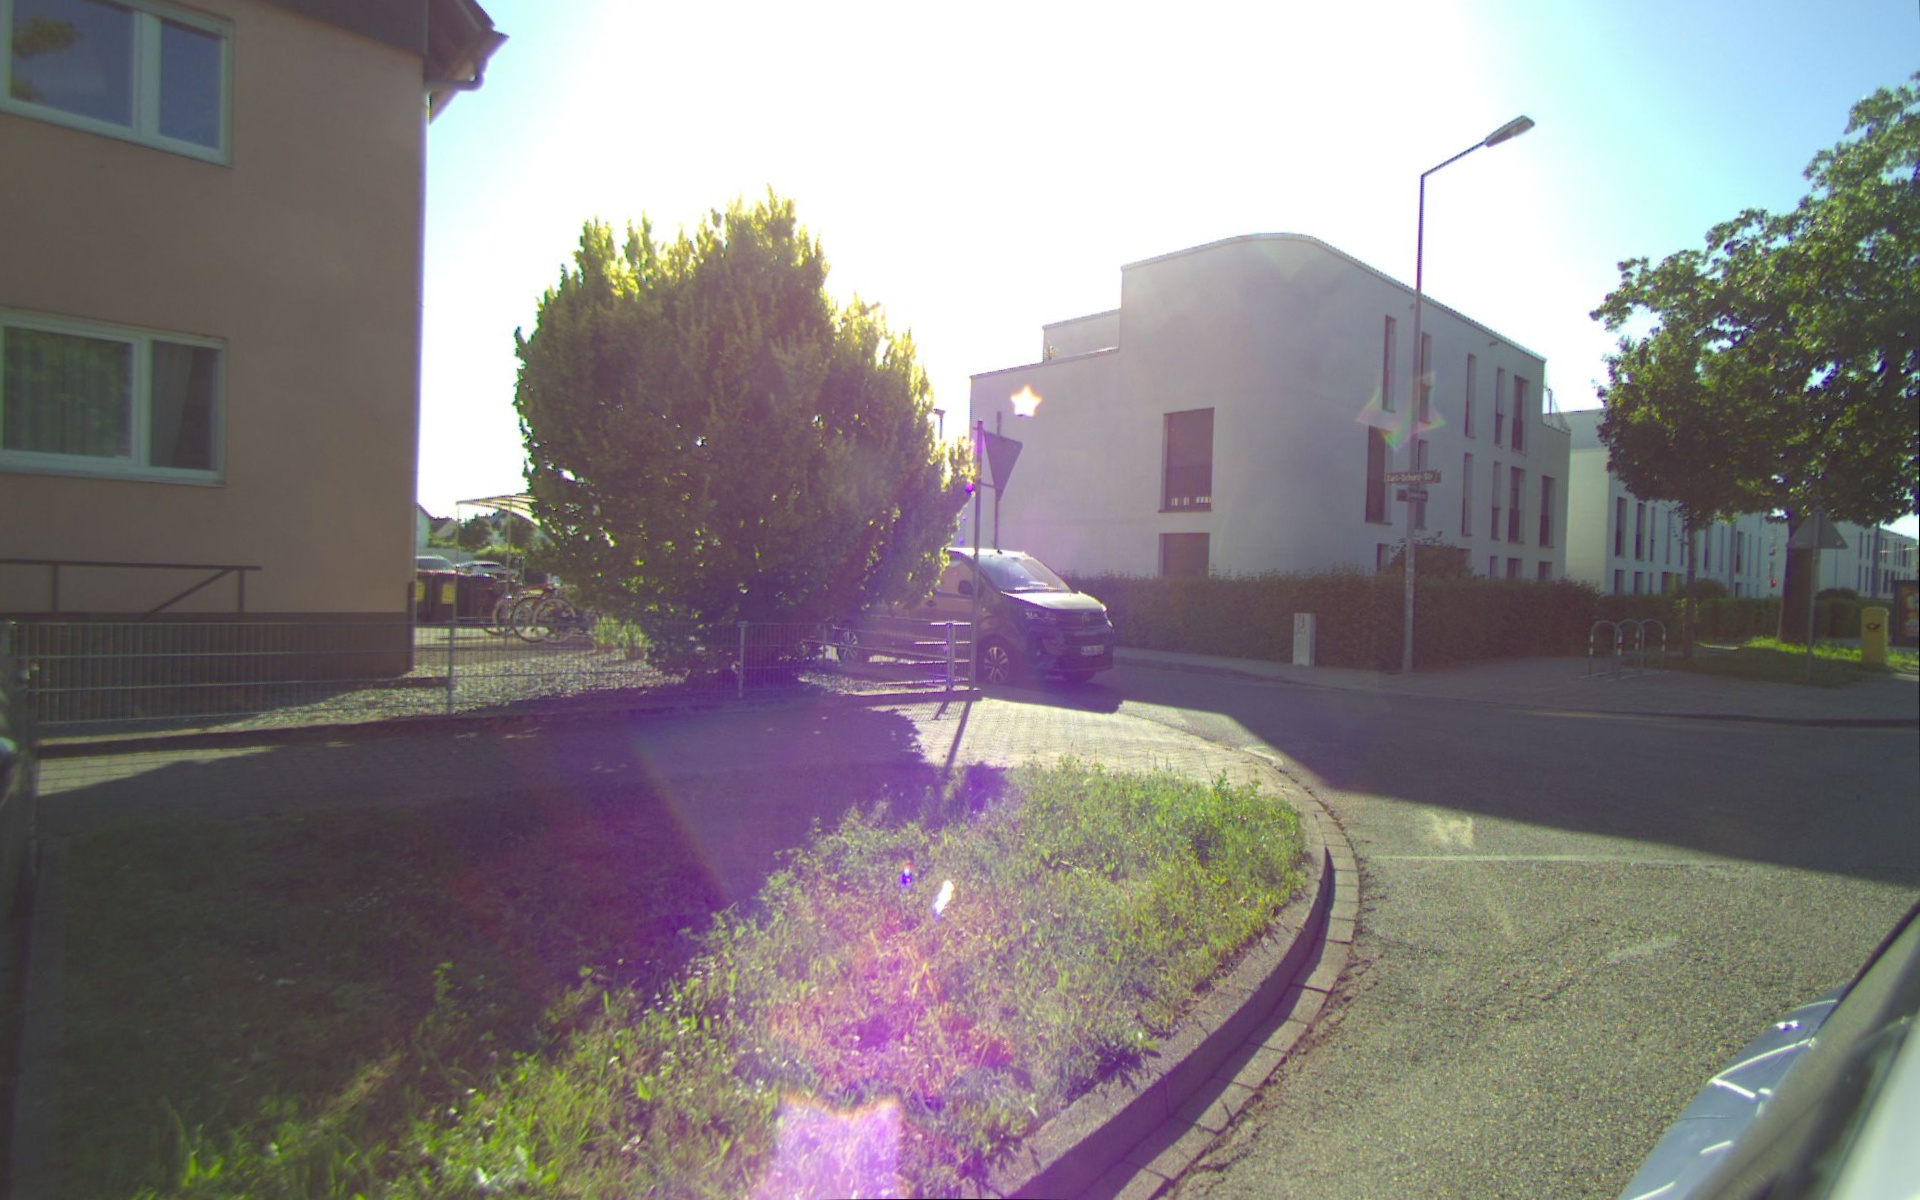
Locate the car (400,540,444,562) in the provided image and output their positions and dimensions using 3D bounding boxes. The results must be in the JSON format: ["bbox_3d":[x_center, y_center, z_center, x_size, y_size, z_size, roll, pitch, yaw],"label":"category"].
[{"bbox_3d":[-50.567,-4.631,95.114,3.280,1.915,1.751,1,2,-41],"label":"car"}]

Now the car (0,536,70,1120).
[{"bbox_3d":[-3.414,0.559,2.484,1.653,1.378,3.957,0,4,-39],"label":"car"}]

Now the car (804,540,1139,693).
[{"bbox_3d":[-0.036,0.093,15.123,1.881,1.837,5.199,0,3,-44],"label":"car"}]

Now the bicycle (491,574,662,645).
[{"bbox_3d":[-6.148,0.146,16.353,2.501,1.044,0.648,1,2,-41],"label":"bicycle"}]

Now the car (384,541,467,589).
[{"bbox_3d":[-19.834,-1.305,37.498,1.880,1.623,3.720,1,2,-42],"label":"car"}]

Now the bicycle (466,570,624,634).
[{"bbox_3d":[-7.328,0.036,17.962,2.501,1.044,0.648,1,2,-41],"label":"bicycle"}]
